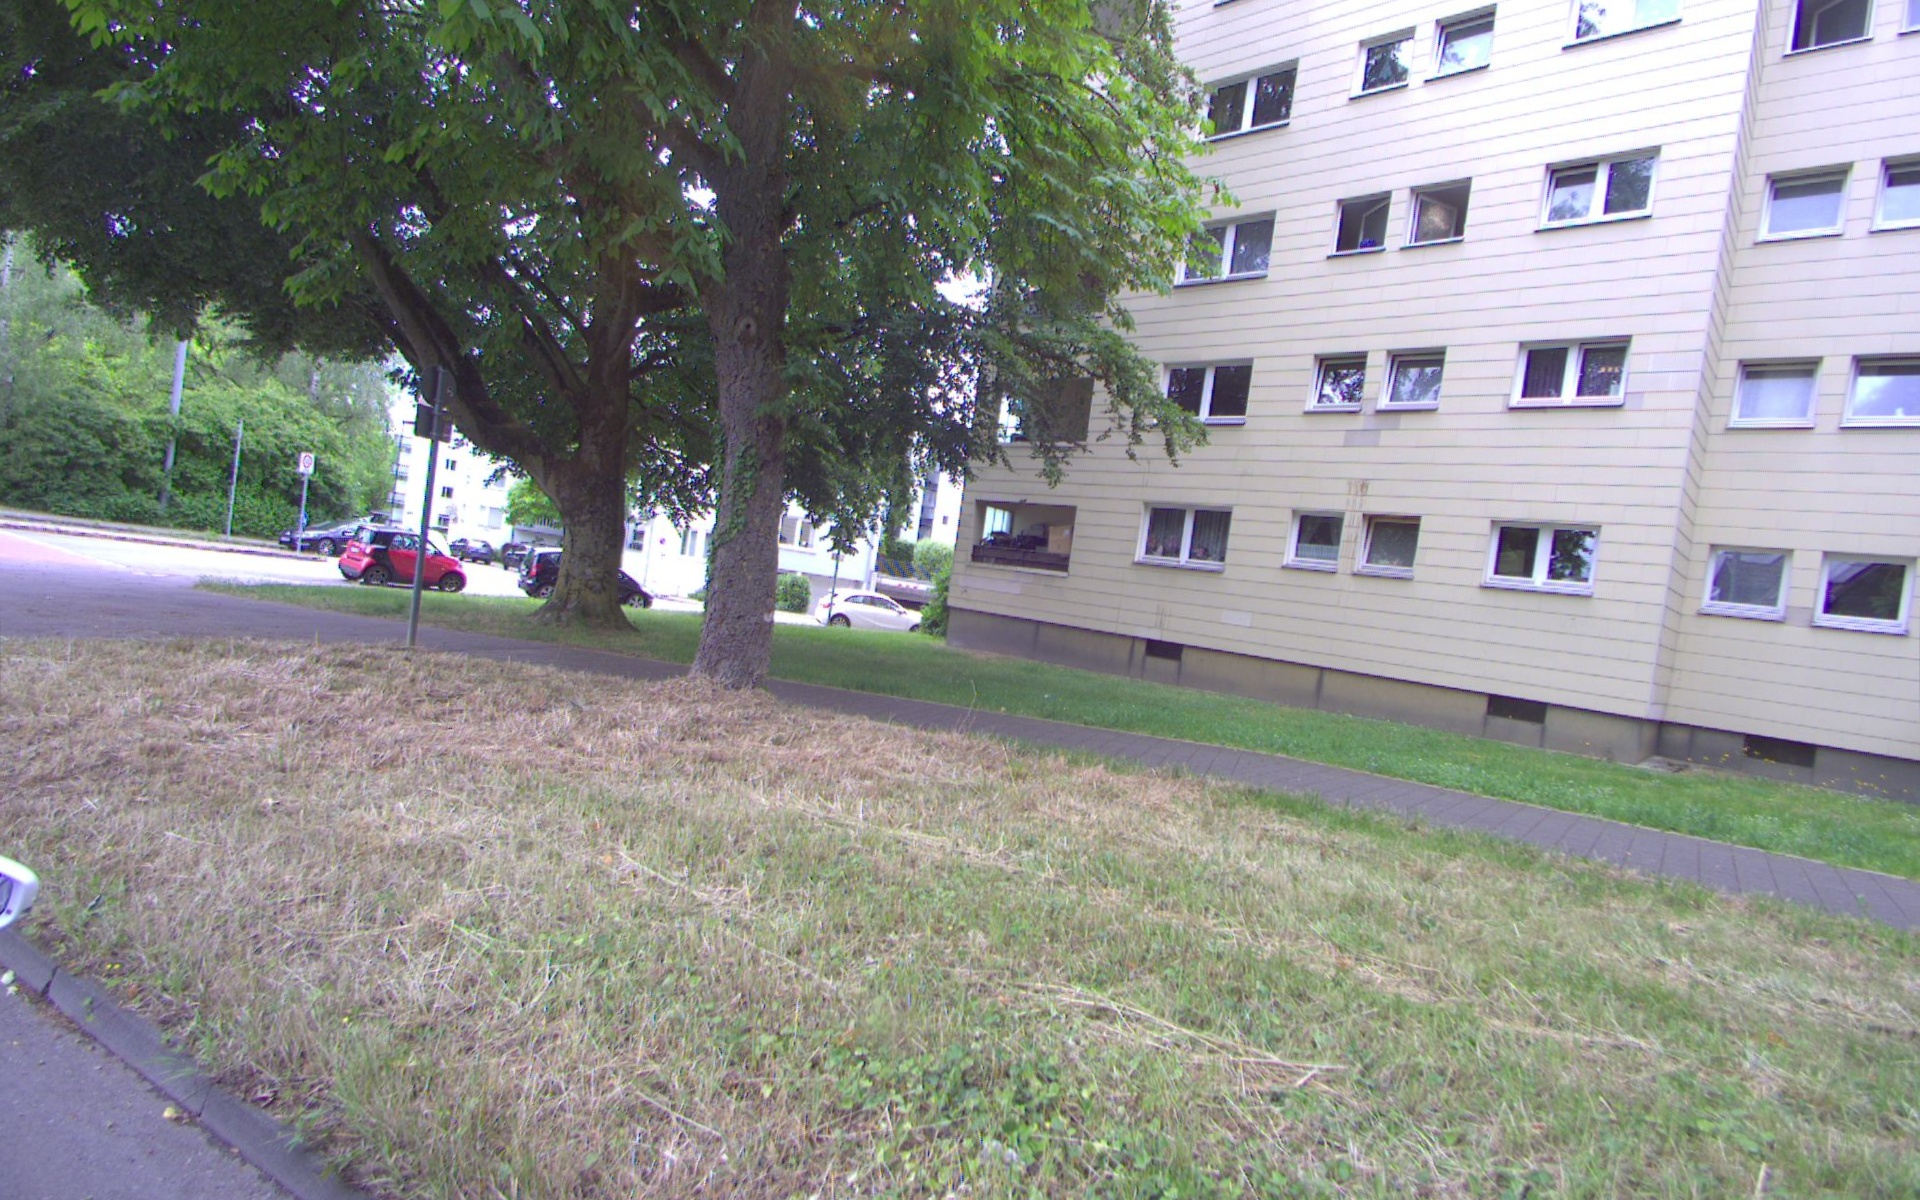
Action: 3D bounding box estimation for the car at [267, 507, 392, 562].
[{"bbox_3d":[-23.405,-2.408,37.433,1.702,1.549,3.515,8,1,38],"label":"car"}]

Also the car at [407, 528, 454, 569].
[{"bbox_3d":[-24.880,-2.445,47.185,1.709,1.631,3.823,6,1,-30],"label":"car"}]

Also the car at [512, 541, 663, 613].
[{"bbox_3d":[-11.060,-0.679,29.923,3.814,1.631,1.713,6,1,-33],"label":"car"}]

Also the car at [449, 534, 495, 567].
[{"bbox_3d":[-30.115,-3.076,62.026,1.713,1.631,3.813,6,1,-38],"label":"car"}]

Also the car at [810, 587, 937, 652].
[{"bbox_3d":[-2.888,0.627,33.311,3.796,1.631,1.721,7,1,-18],"label":"car"}]

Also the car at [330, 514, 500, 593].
[{"bbox_3d":[-14.531,-1.212,26.949,1.702,1.631,3.516,8,1,37],"label":"car"}]

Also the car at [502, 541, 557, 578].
[{"bbox_3d":[-23.190,-2.201,54.073,1.713,1.631,3.813,6,1,-38],"label":"car"}]
